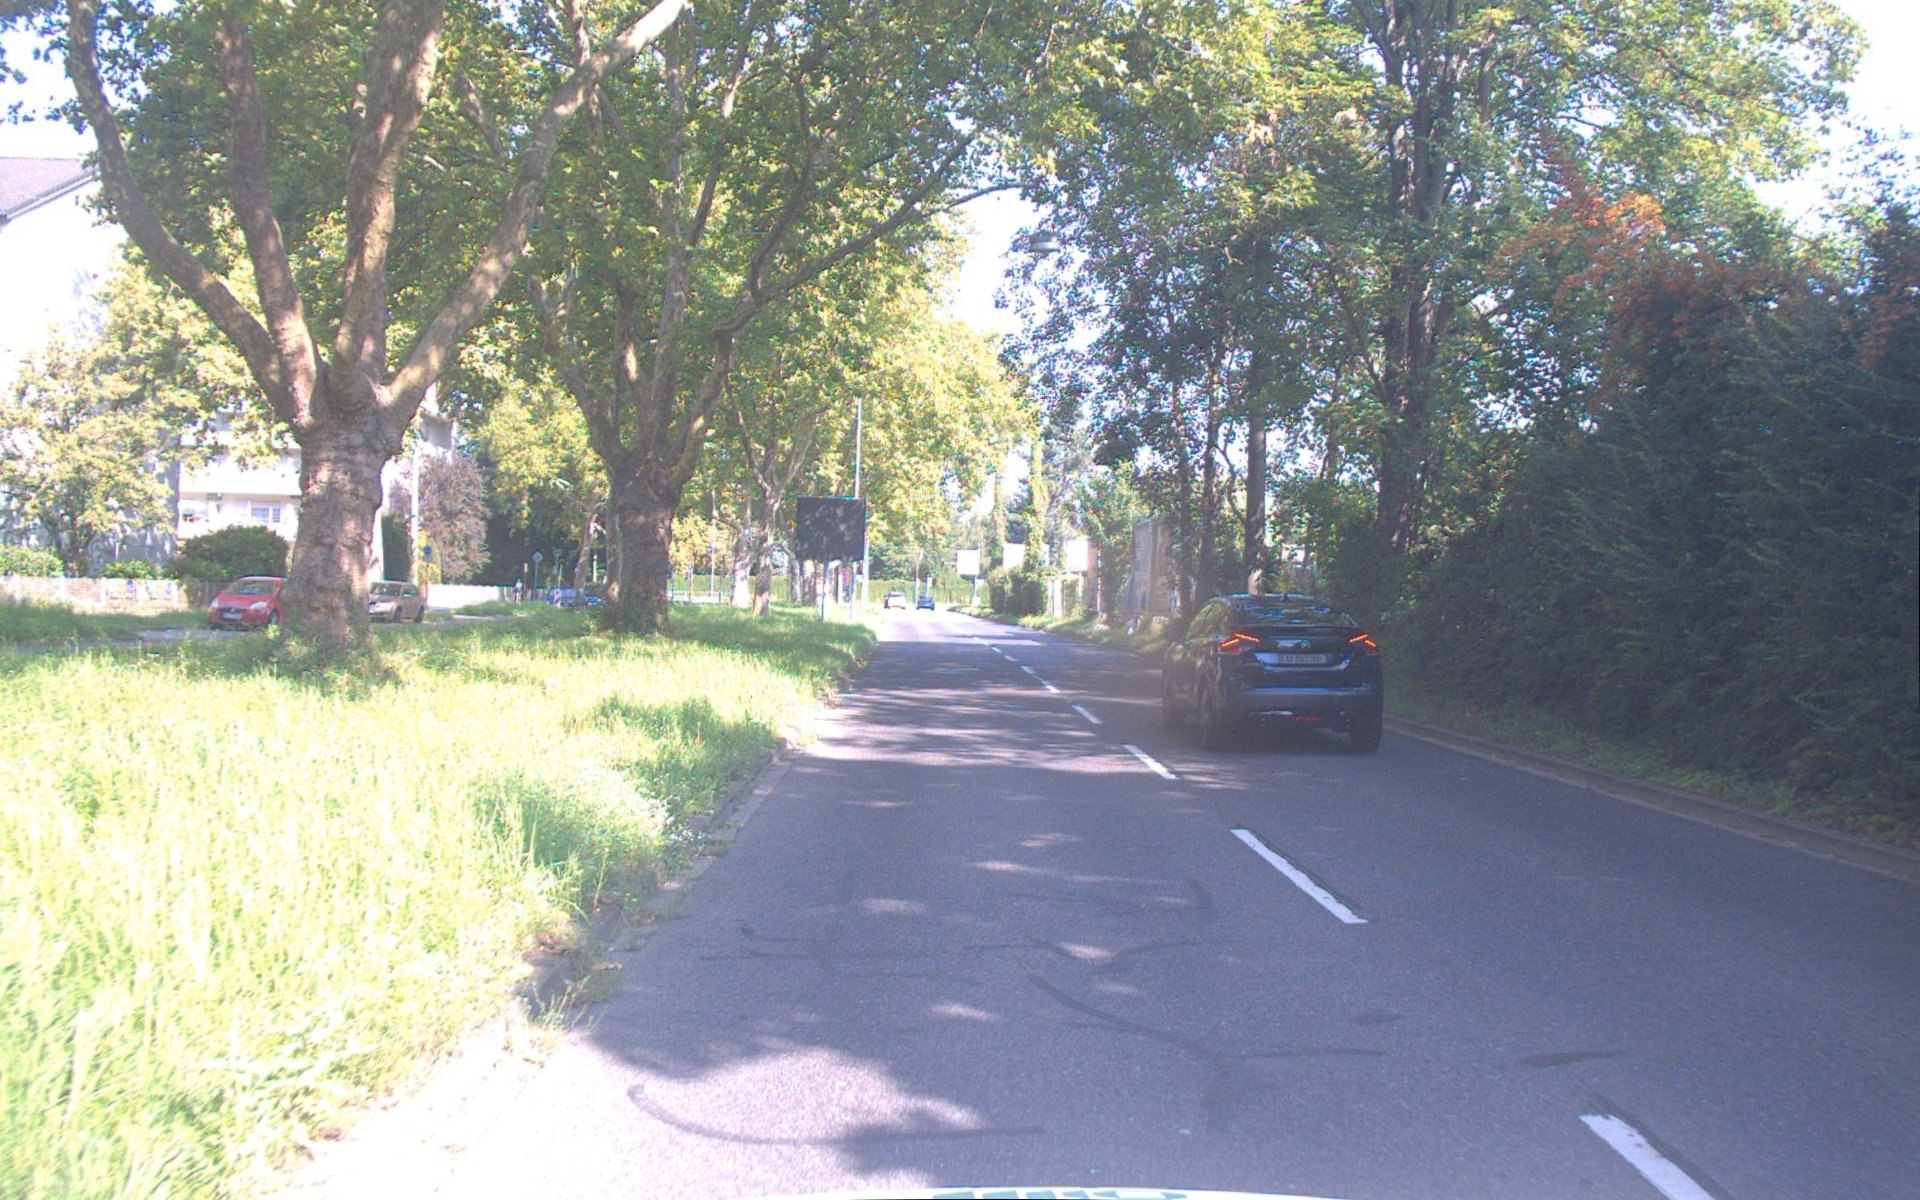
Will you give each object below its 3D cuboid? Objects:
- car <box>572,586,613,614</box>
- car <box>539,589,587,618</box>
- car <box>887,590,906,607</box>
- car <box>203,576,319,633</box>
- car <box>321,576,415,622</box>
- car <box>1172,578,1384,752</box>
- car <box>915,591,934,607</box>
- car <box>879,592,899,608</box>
[{"bbox_3d":[-22.033,-0.017,99.167,1.665,1.595,3.998,1,0,-2],"label":"car"},{"bbox_3d":[-21.756,0.191,90.789,1.665,1.534,4.538,1,0,-2],"label":"car"},{"bbox_3d":[-5.847,-0.113,152.674,1.653,1.487,3.998,2,0,-2],"label":"car"},{"bbox_3d":[-19.367,0.134,45.981,1.507,1.477,4.063,2,0,-1],"label":"car"},{"bbox_3d":[-20.216,-0.041,56.617,1.765,1.455,4.063,2,0,-1],"label":"car"},{"bbox_3d":[3.260,0.617,17.654,1.611,1.616,4.256,0,0,2],"label":"car"},{"bbox_3d":[-3.507,-0.100,162.459,1.762,1.425,3.997,2,0,-3],"label":"car"},{"bbox_3d":[-6.972,-0.025,161.864,1.652,1.487,3.850,2,0,1],"label":"car"}]
